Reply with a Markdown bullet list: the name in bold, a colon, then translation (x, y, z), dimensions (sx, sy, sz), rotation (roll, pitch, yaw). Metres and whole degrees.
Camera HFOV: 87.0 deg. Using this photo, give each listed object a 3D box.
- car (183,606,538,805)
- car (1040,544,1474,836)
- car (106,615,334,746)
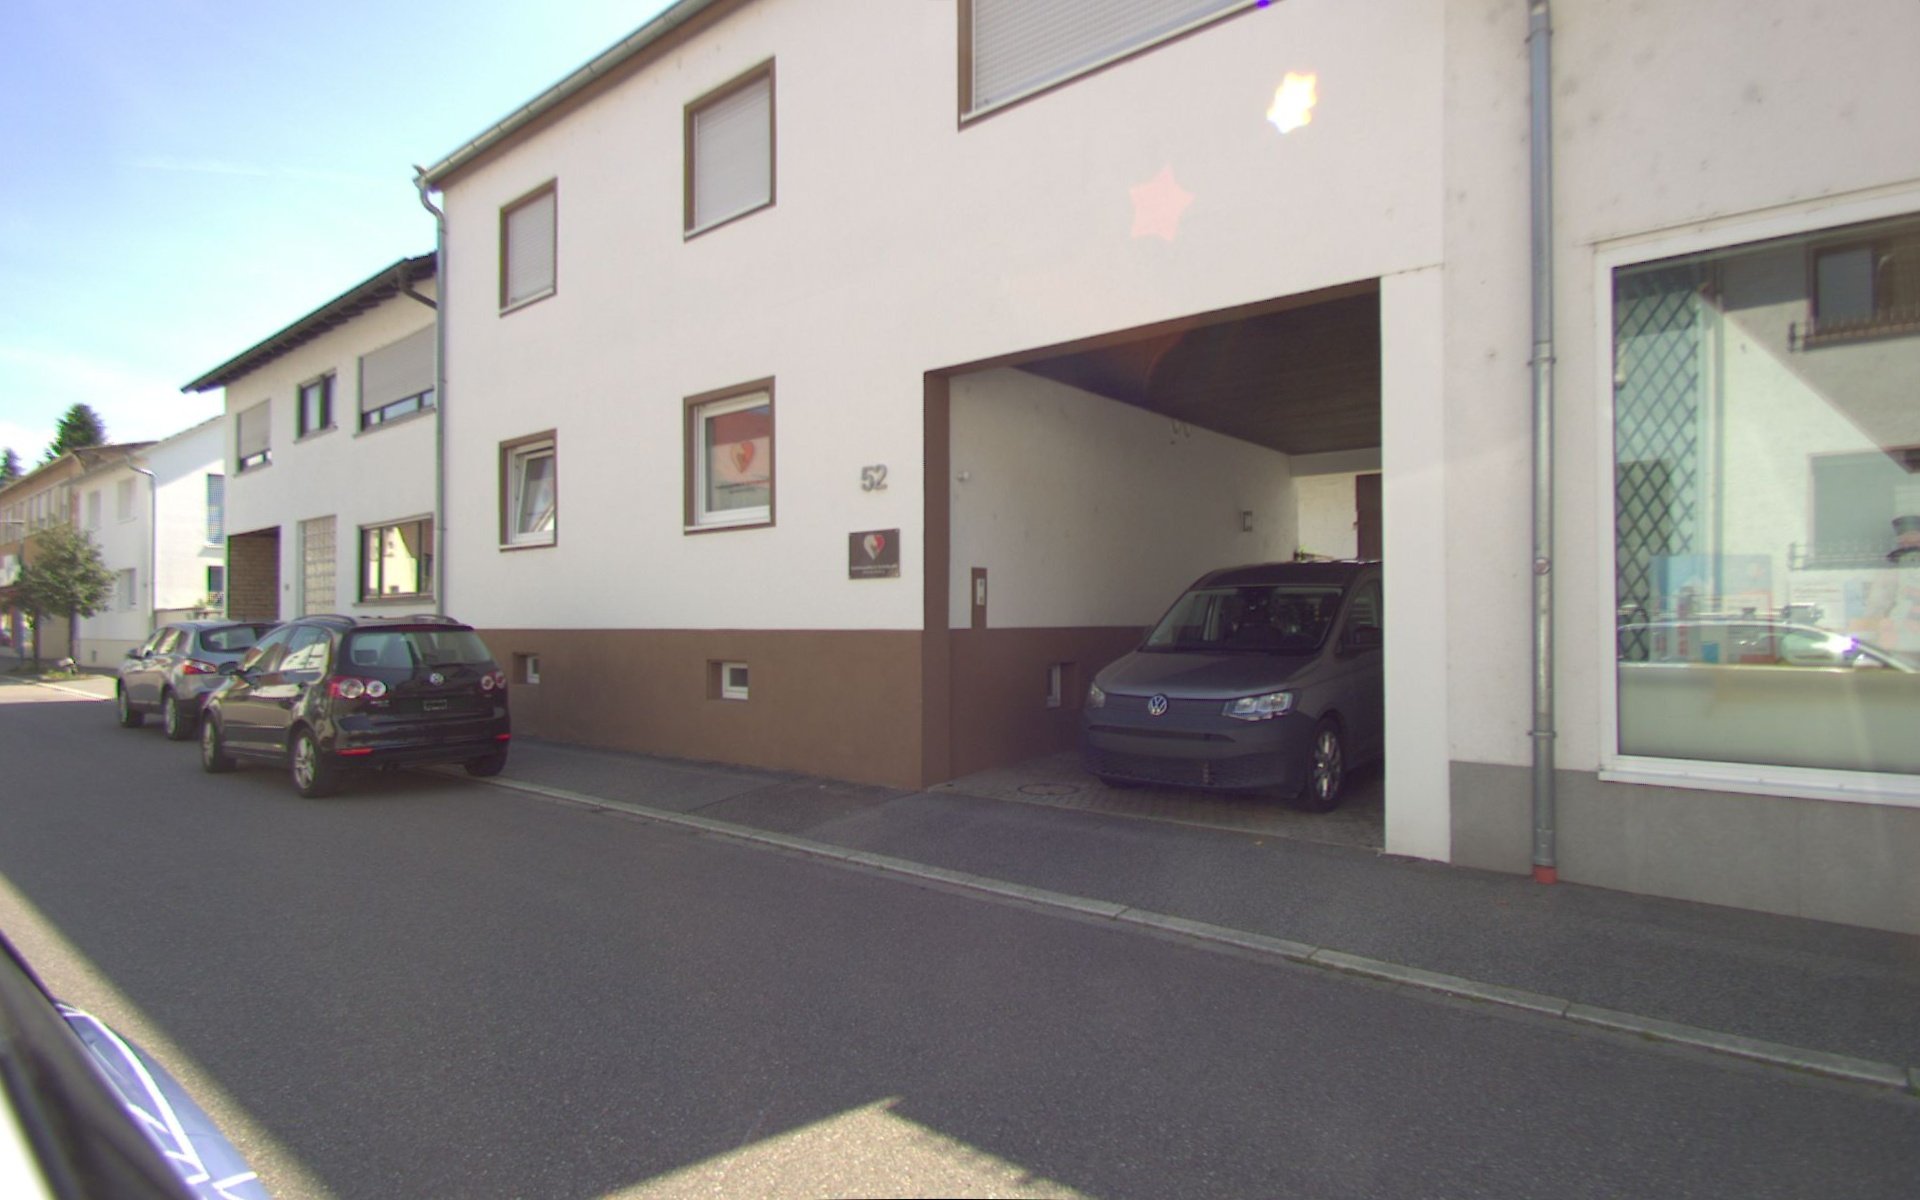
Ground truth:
- **car**: translation (-6.015, 0.895, 9.993), dimensions (3.950, 1.578, 1.730), rotation (-2, -2, 38)
- **car**: translation (2.569, 0.498, 8.094), dimensions (1.813, 1.731, 3.946), rotation (-2, 0, 41)
- **car**: translation (-10.783, 1.062, 14.651), dimensions (4.117, 1.630, 1.736), rotation (-2, -2, 40)
